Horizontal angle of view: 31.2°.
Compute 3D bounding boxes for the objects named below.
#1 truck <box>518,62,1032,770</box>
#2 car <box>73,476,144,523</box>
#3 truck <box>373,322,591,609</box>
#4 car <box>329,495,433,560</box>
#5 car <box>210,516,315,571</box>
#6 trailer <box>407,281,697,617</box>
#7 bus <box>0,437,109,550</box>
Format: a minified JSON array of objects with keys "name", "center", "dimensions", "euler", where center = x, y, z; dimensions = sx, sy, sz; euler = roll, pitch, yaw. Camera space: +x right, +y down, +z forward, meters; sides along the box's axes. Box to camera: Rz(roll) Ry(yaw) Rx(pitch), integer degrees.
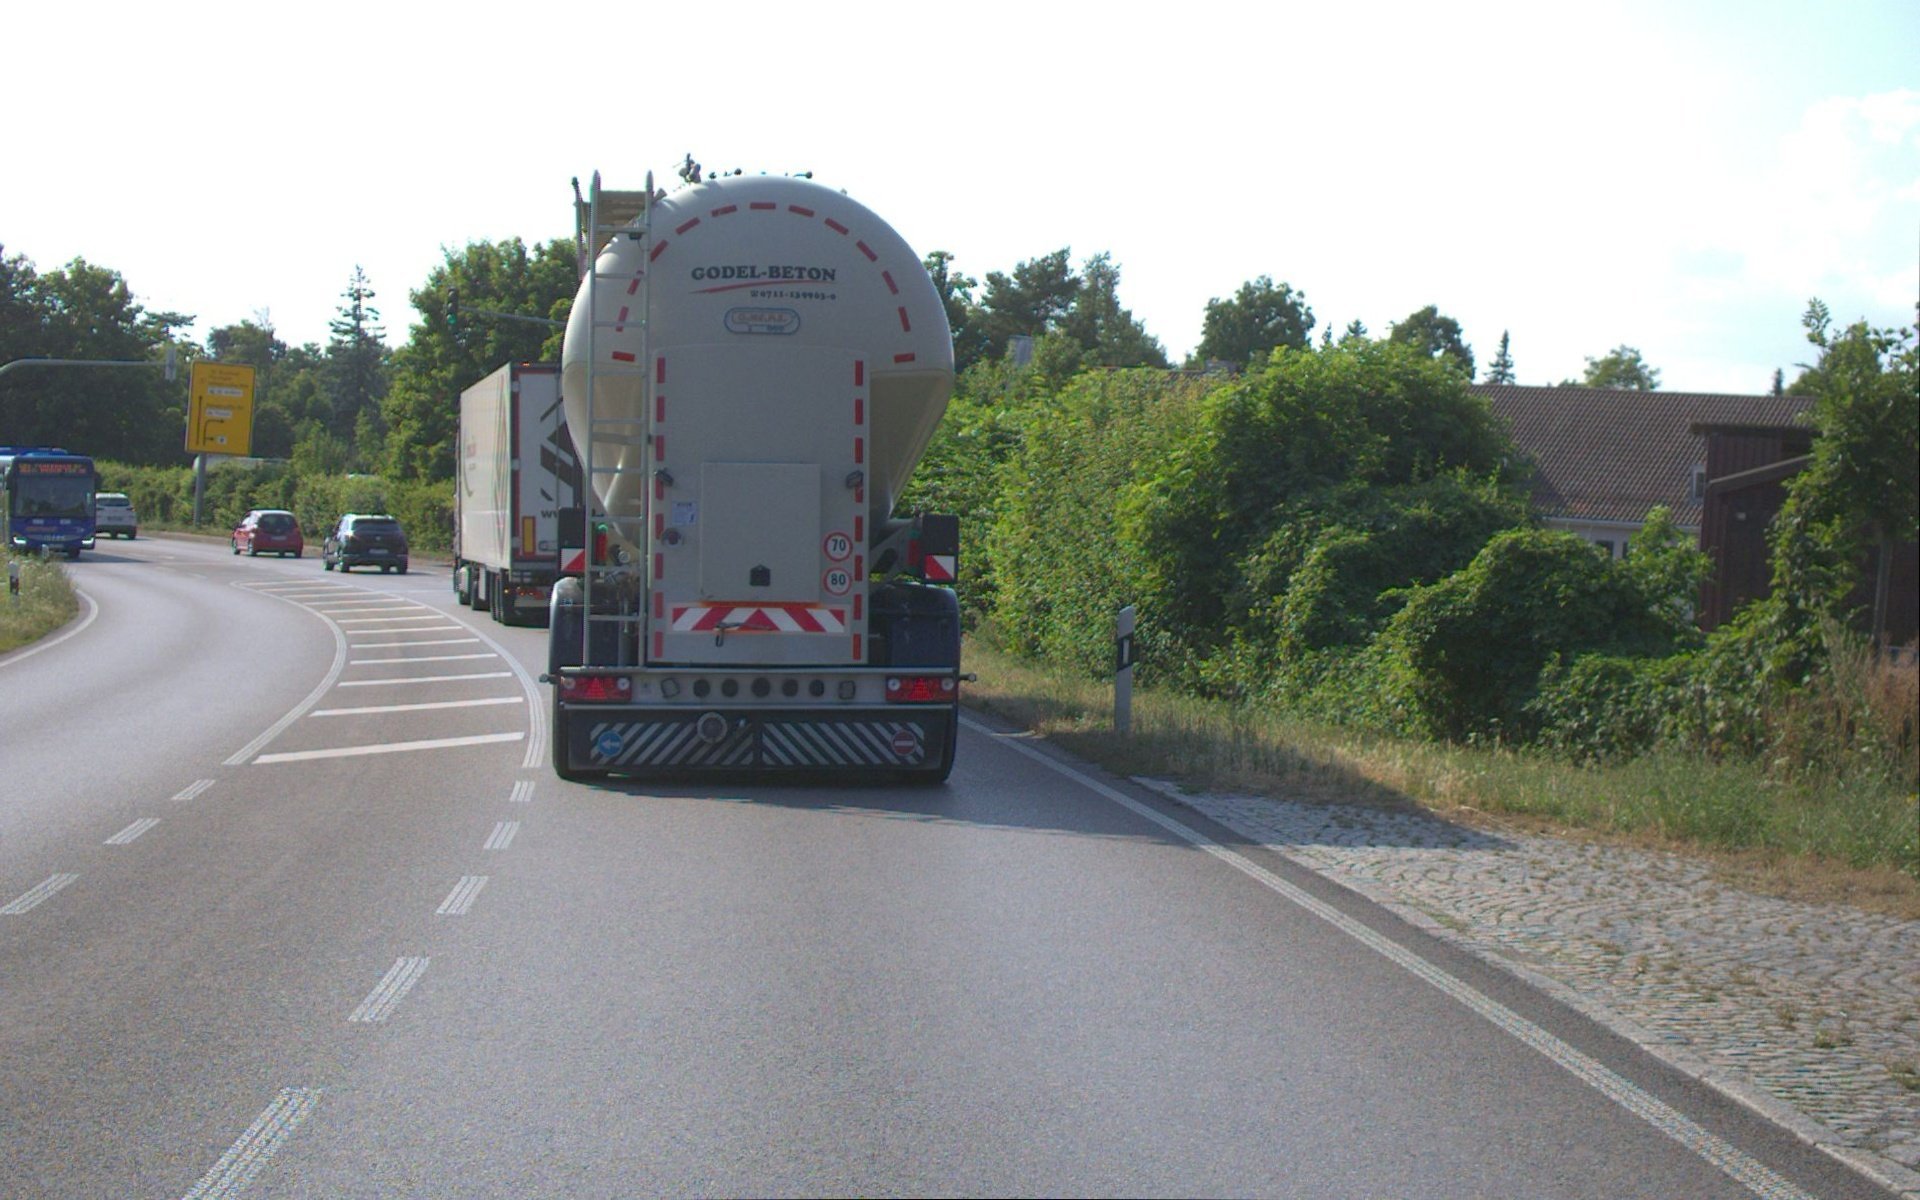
[{"name":"truck","center":[-1.634,-1.132,26.407],"dimensions":[2.975,4.161,11.664],"euler":[1,0,-5]},{"name":"car","center":[-31.488,-3.694,127.047],"dimensions":[1.841,1.650,4.001],"euler":[1,0,-24]},{"name":"truck","center":[-8.802,-2.345,62.634],"dimensions":[2.962,4.870,6.432],"euler":[1,0,-16]},{"name":"car","center":[-15.605,-1.941,92.543],"dimensions":[1.993,1.650,4.001],"euler":[1,0,-20]},{"name":"car","center":[-21.952,-1.779,108.114],"dimensions":[2.299,1.650,4.416],"euler":[1,0,-24]},{"name":"trailer","center":[-6.800,-2.267,55.660],"dimensions":[2.963,4.865,10.291],"euler":[1,0,-16]},{"name":"bus","center":[-28.308,-3.152,105.077],"dimensions":[2.793,3.170,12.130],"euler":[1,0,-21]}]
